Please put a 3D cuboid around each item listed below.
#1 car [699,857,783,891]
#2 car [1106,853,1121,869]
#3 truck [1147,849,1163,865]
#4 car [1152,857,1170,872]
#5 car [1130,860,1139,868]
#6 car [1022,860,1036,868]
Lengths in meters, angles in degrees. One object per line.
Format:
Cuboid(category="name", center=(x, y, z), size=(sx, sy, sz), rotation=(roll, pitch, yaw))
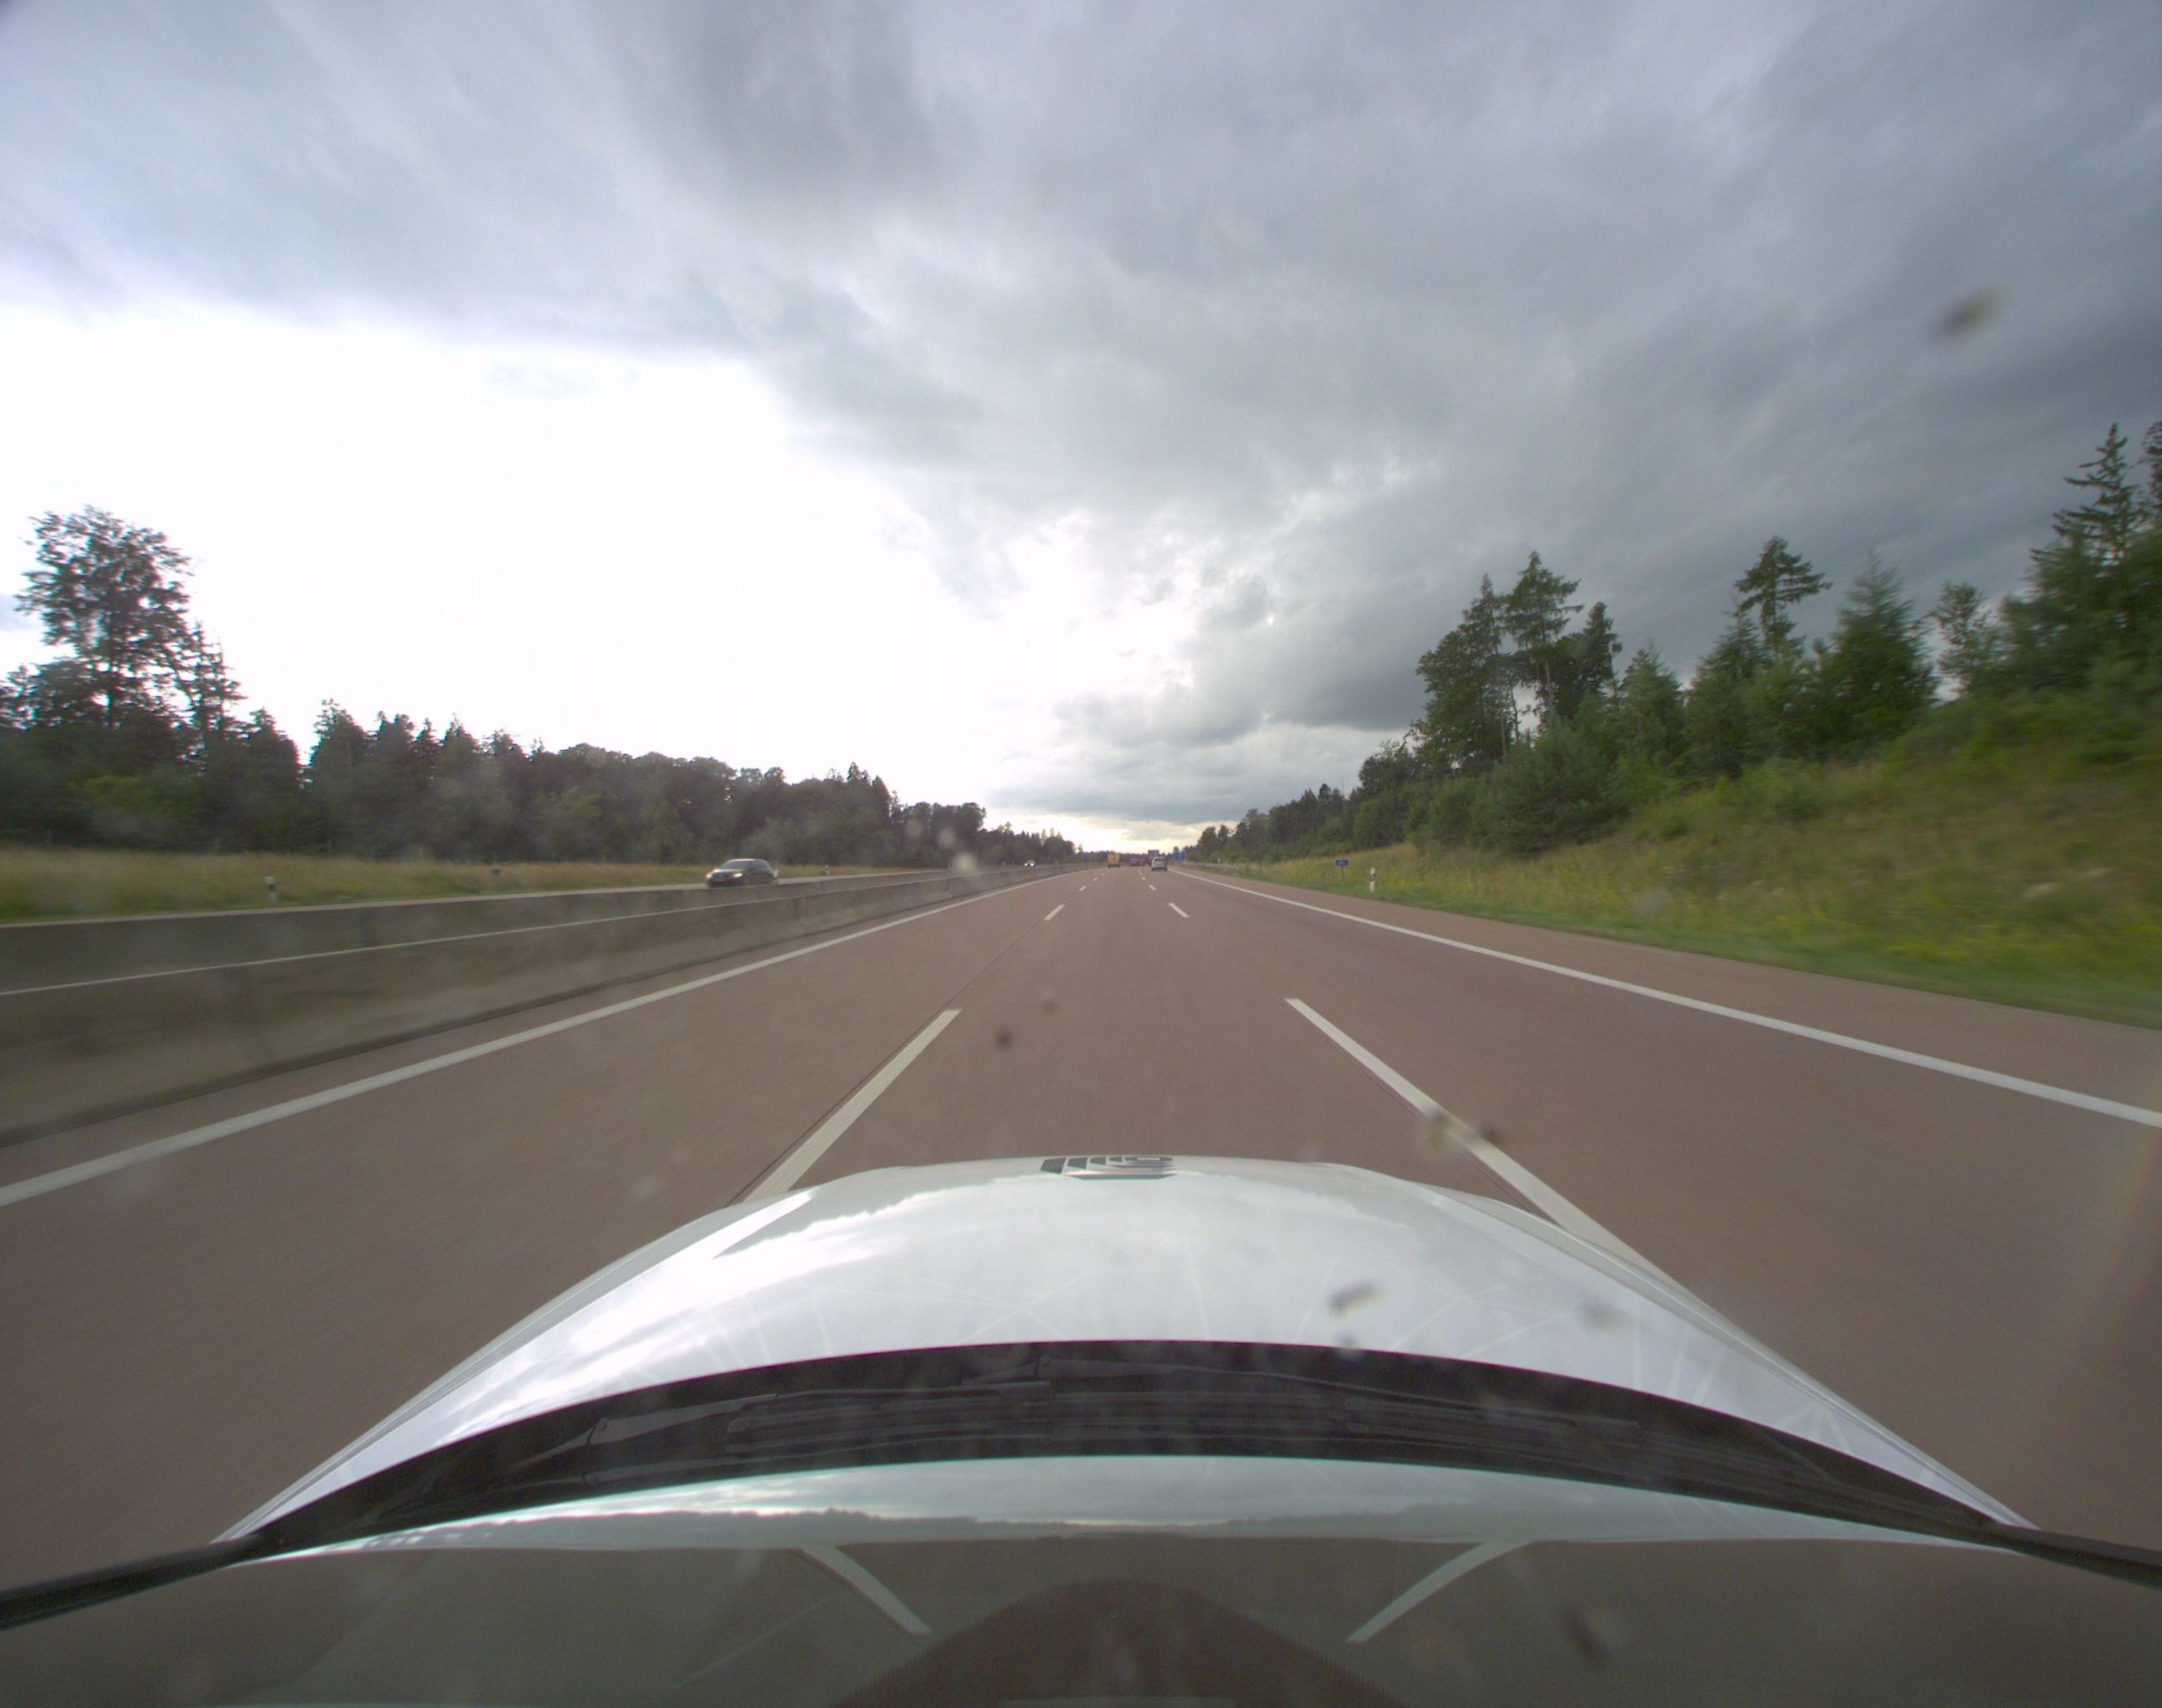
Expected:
Cuboid(category="car", center=(-16.275, 0.959, 39.219), size=(1.921, 1.488, 4.427), rotation=(0, -1, 4))
Cuboid(category="car", center=(6.000, 1.283, 150.633), size=(2.447, 2.706, 5.622), rotation=(-2, -1, 5))
Cuboid(category="truck", center=(18.838, 0.849, 206.576), size=(3.662, 3.913, 12.835), rotation=(-1, -1, 6))
Cuboid(category="car", center=(9.119, 1.185, 93.050), size=(1.969, 1.648, 4.624), rotation=(0, 0, 4))
Cuboid(category="car", center=(11.778, 2.162, 177.875), size=(1.879, 1.764, 4.787), rotation=(-2, -1, 4))
Cuboid(category="car", center=(-10.627, 2.024, 167.446), size=(2.207, 1.566, 4.855), rotation=(-2, -1, 4))
